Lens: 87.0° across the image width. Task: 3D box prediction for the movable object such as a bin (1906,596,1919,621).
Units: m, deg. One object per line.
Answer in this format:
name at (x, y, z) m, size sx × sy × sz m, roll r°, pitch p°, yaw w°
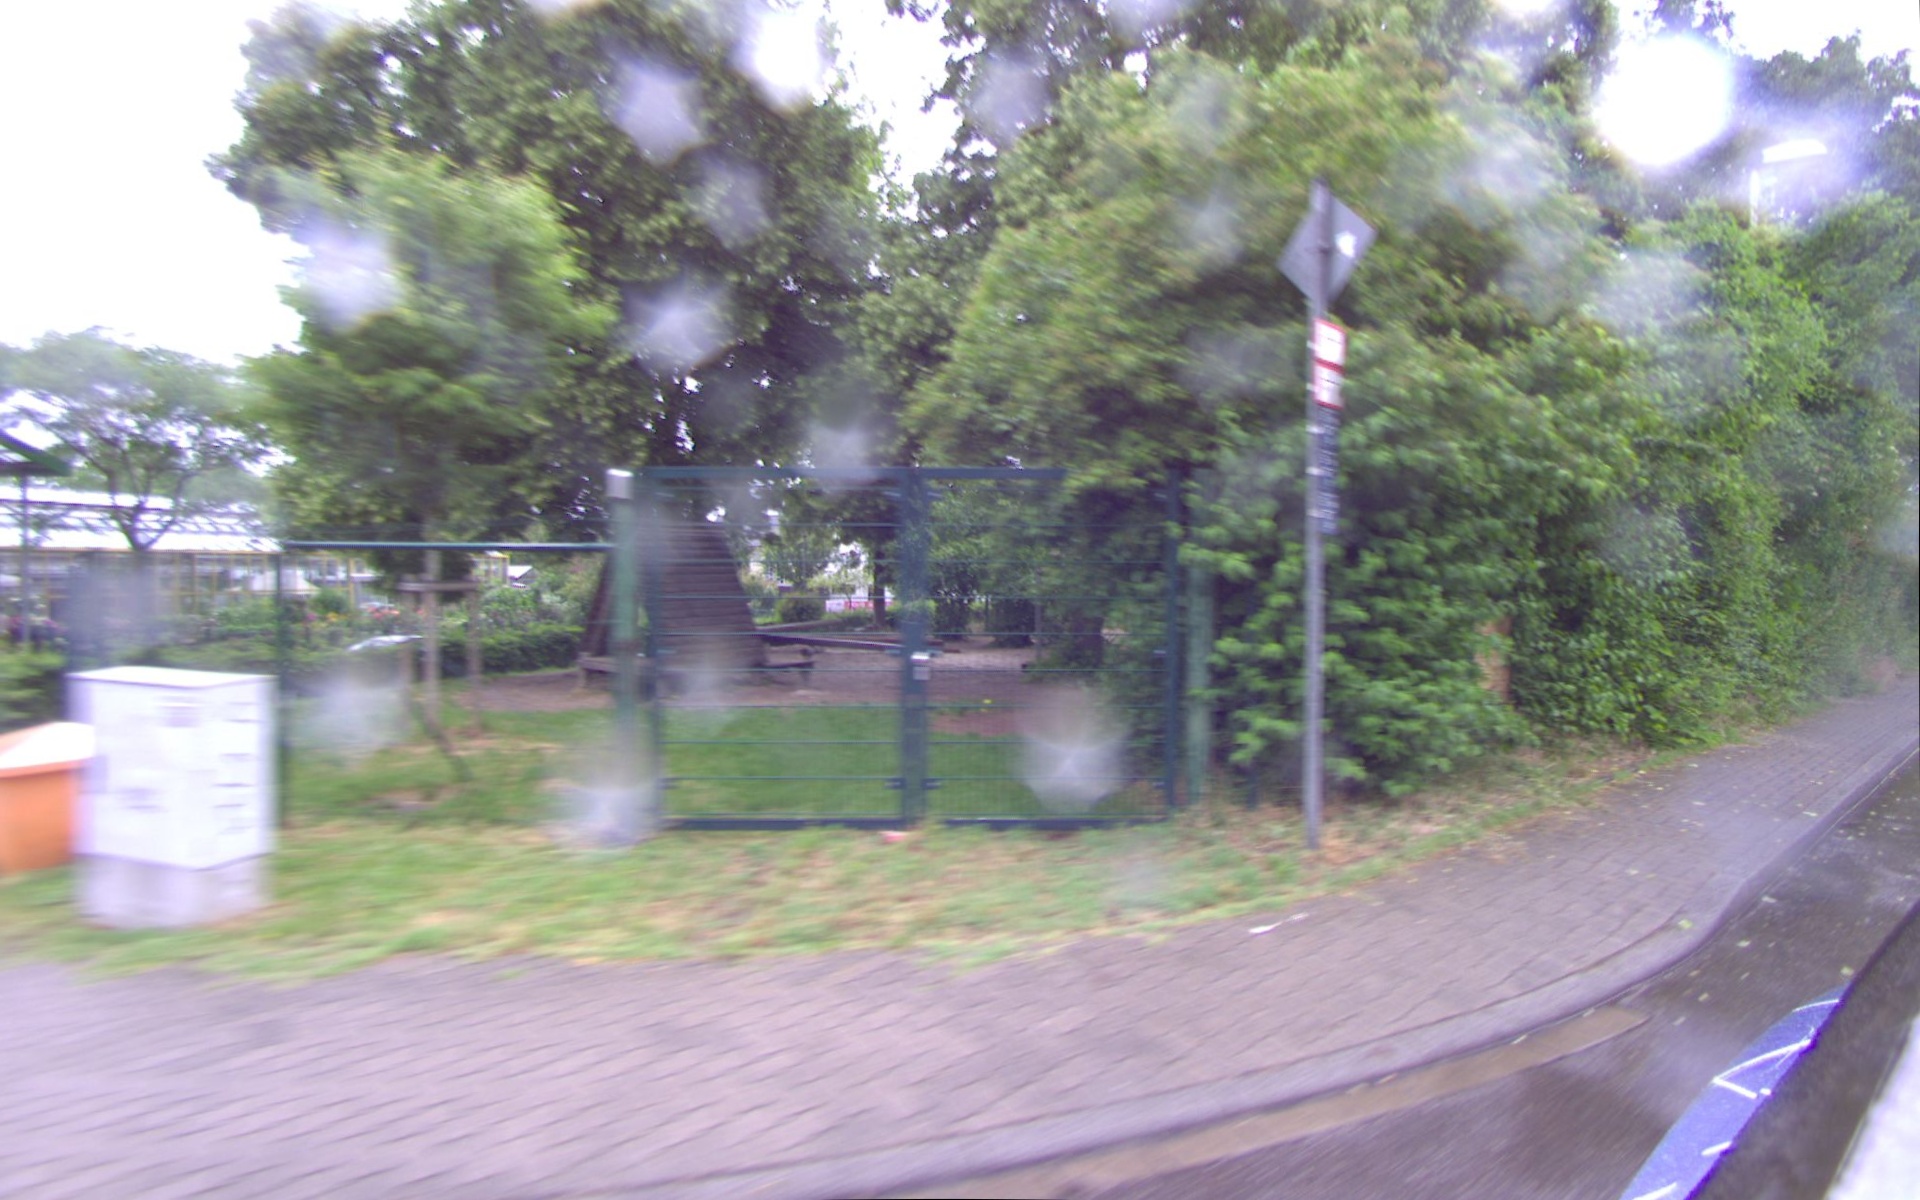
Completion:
movable object such as a bin at (58.978, 0.571, 62.065) m, size 0.782 × 1.452 × 1.238 m, roll 0°, pitch 6°, yaw -43°
